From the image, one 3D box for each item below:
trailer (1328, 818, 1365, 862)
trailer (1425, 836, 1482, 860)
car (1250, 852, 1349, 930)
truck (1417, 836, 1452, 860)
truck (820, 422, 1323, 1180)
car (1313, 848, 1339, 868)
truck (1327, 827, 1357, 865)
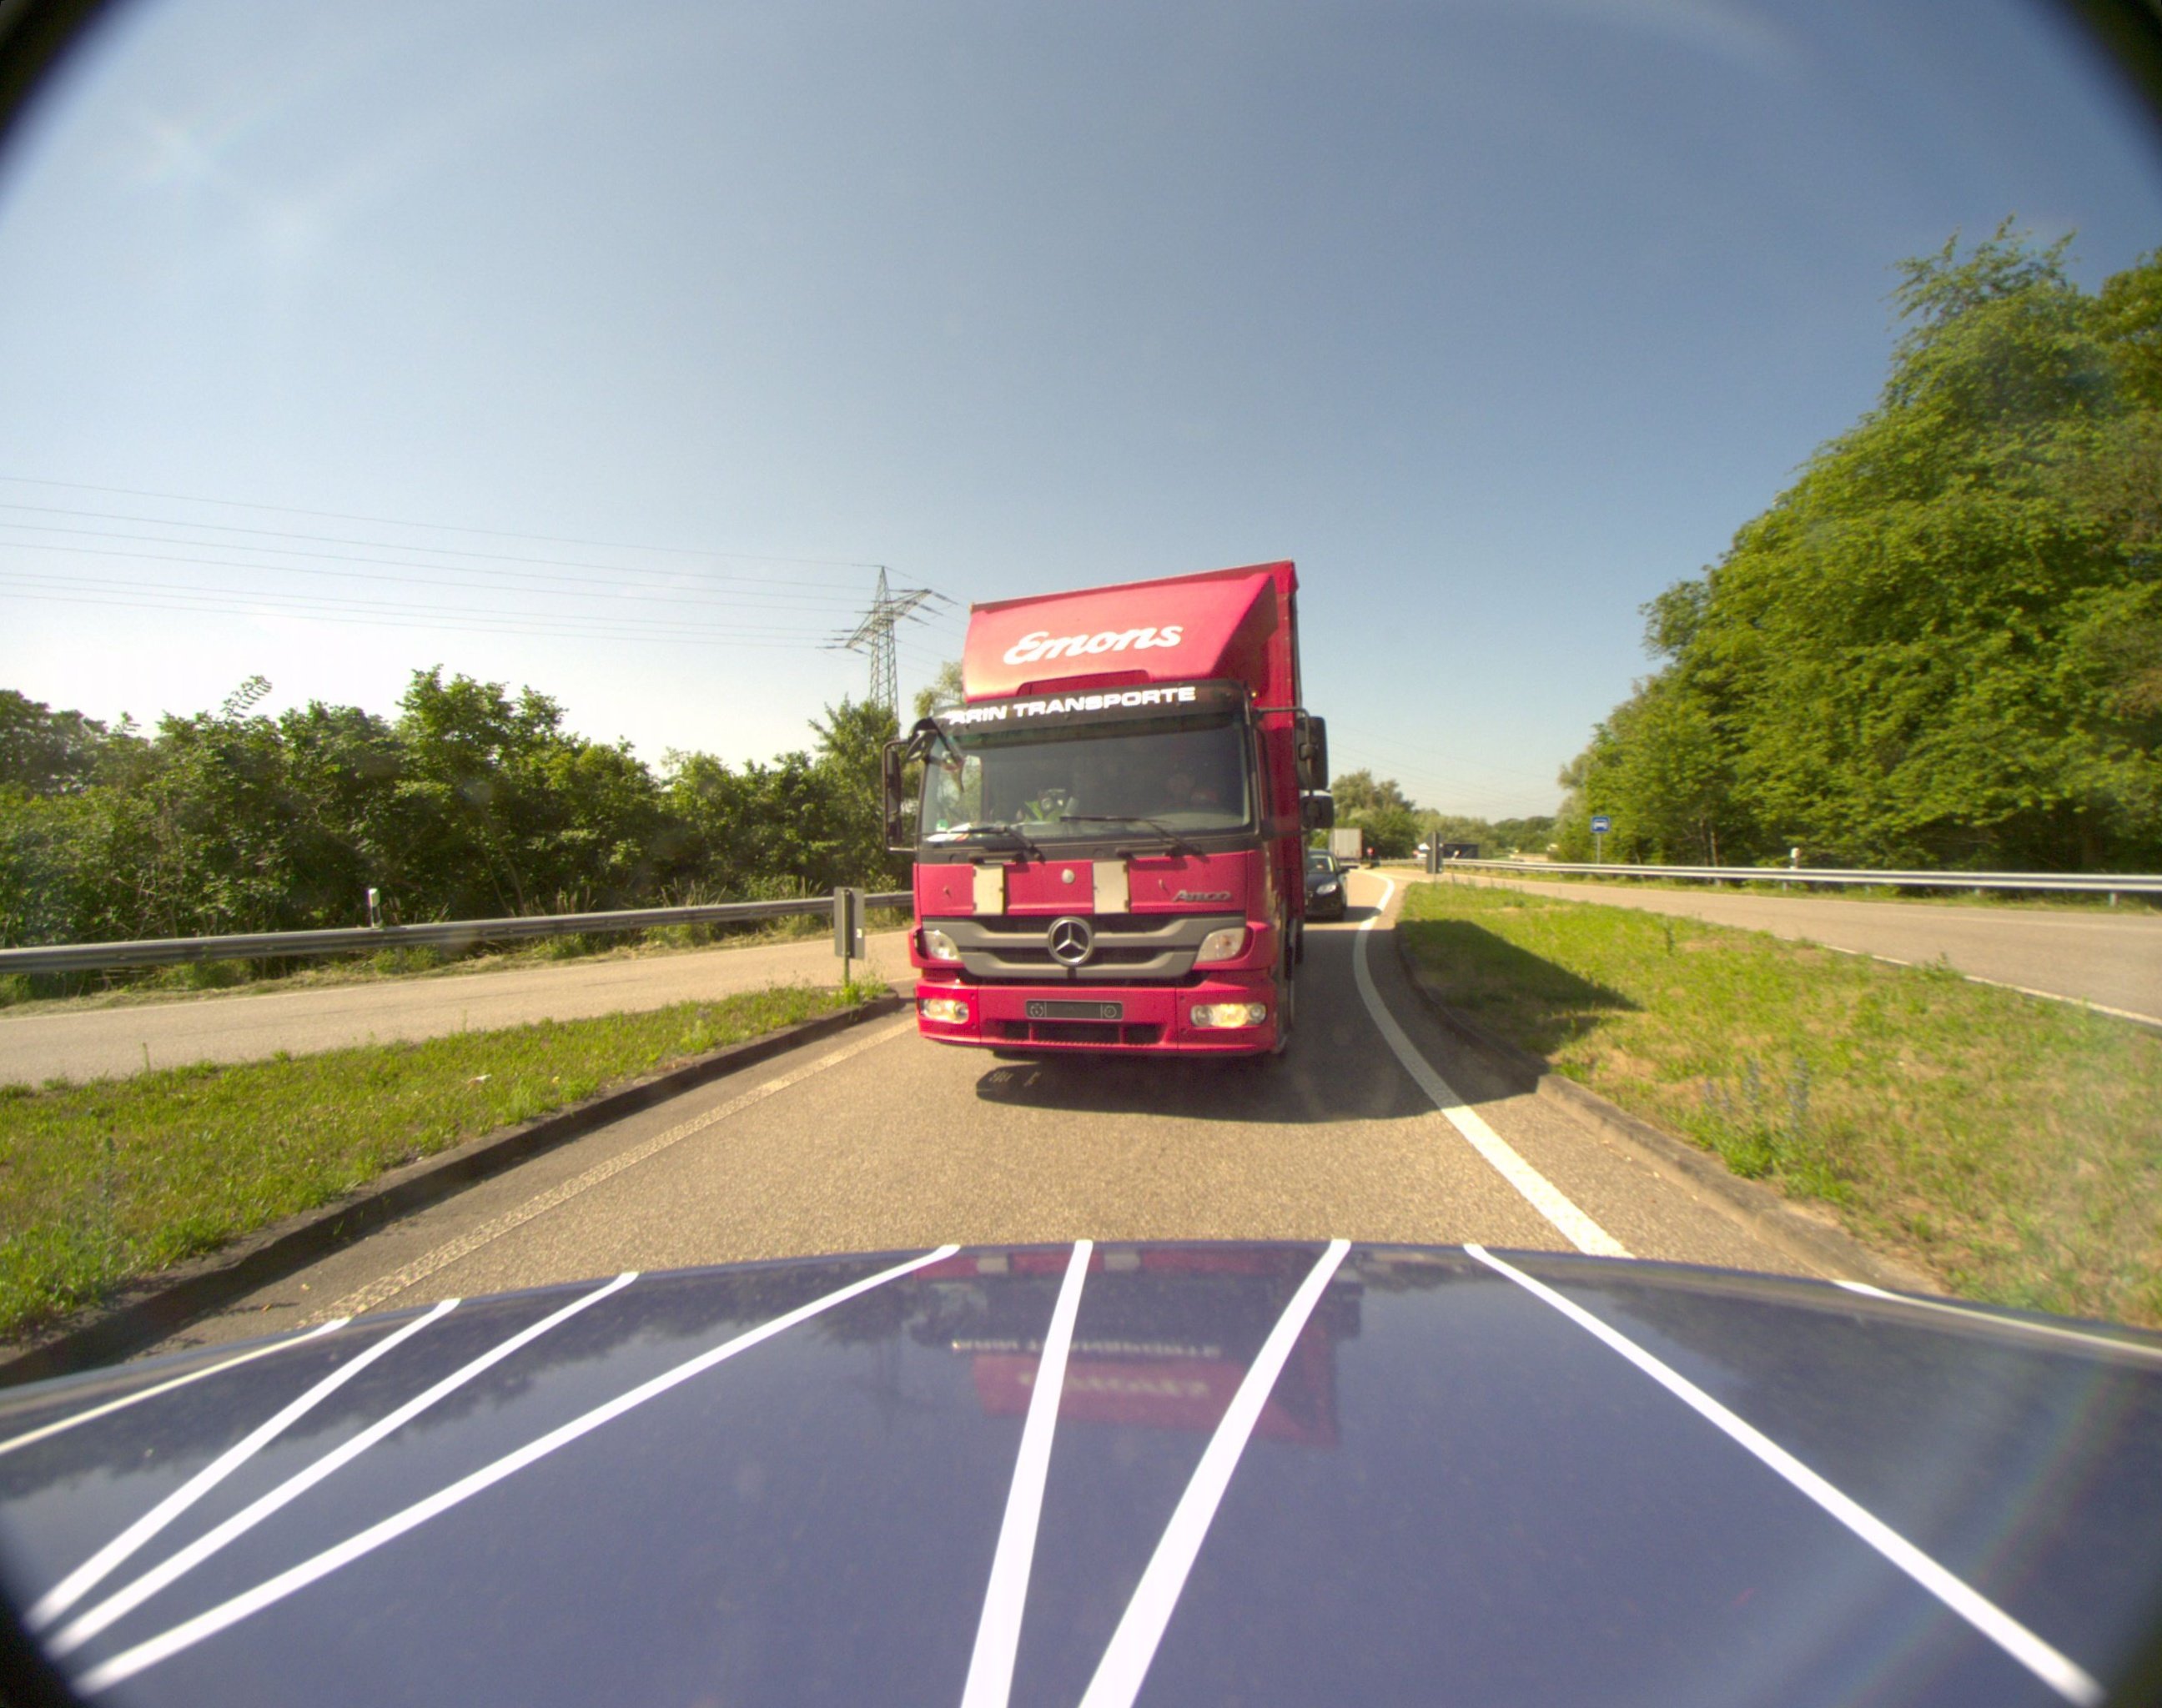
[{"bbox_3d":[27.932,-1.391,80.450,2.953,4.243,13.997,1,1,17],"label":"trailer"},{"bbox_3d":[67.609,-1.096,137.561,14.007,4.216,2.922,0,2,-36],"label":"trailer"},{"bbox_3d":[4.822,0.716,16.406,1.785,1.406,4.005,-1,0,20],"label":"car"},{"bbox_3d":[62.180,-1.090,133.580,5.743,4.213,2.932,0,1,-35],"label":"truck"},{"bbox_3d":[1.167,-0.268,8.471,2.686,3.640,9.273,-1,0,17],"label":"truck"},{"bbox_3d":[19.021,0.278,59.068,1.785,1.377,4.383,-2,0,16],"label":"car"},{"bbox_3d":[29.878,-0.948,87.007,2.935,4.222,5.739,1,1,16],"label":"truck"}]
